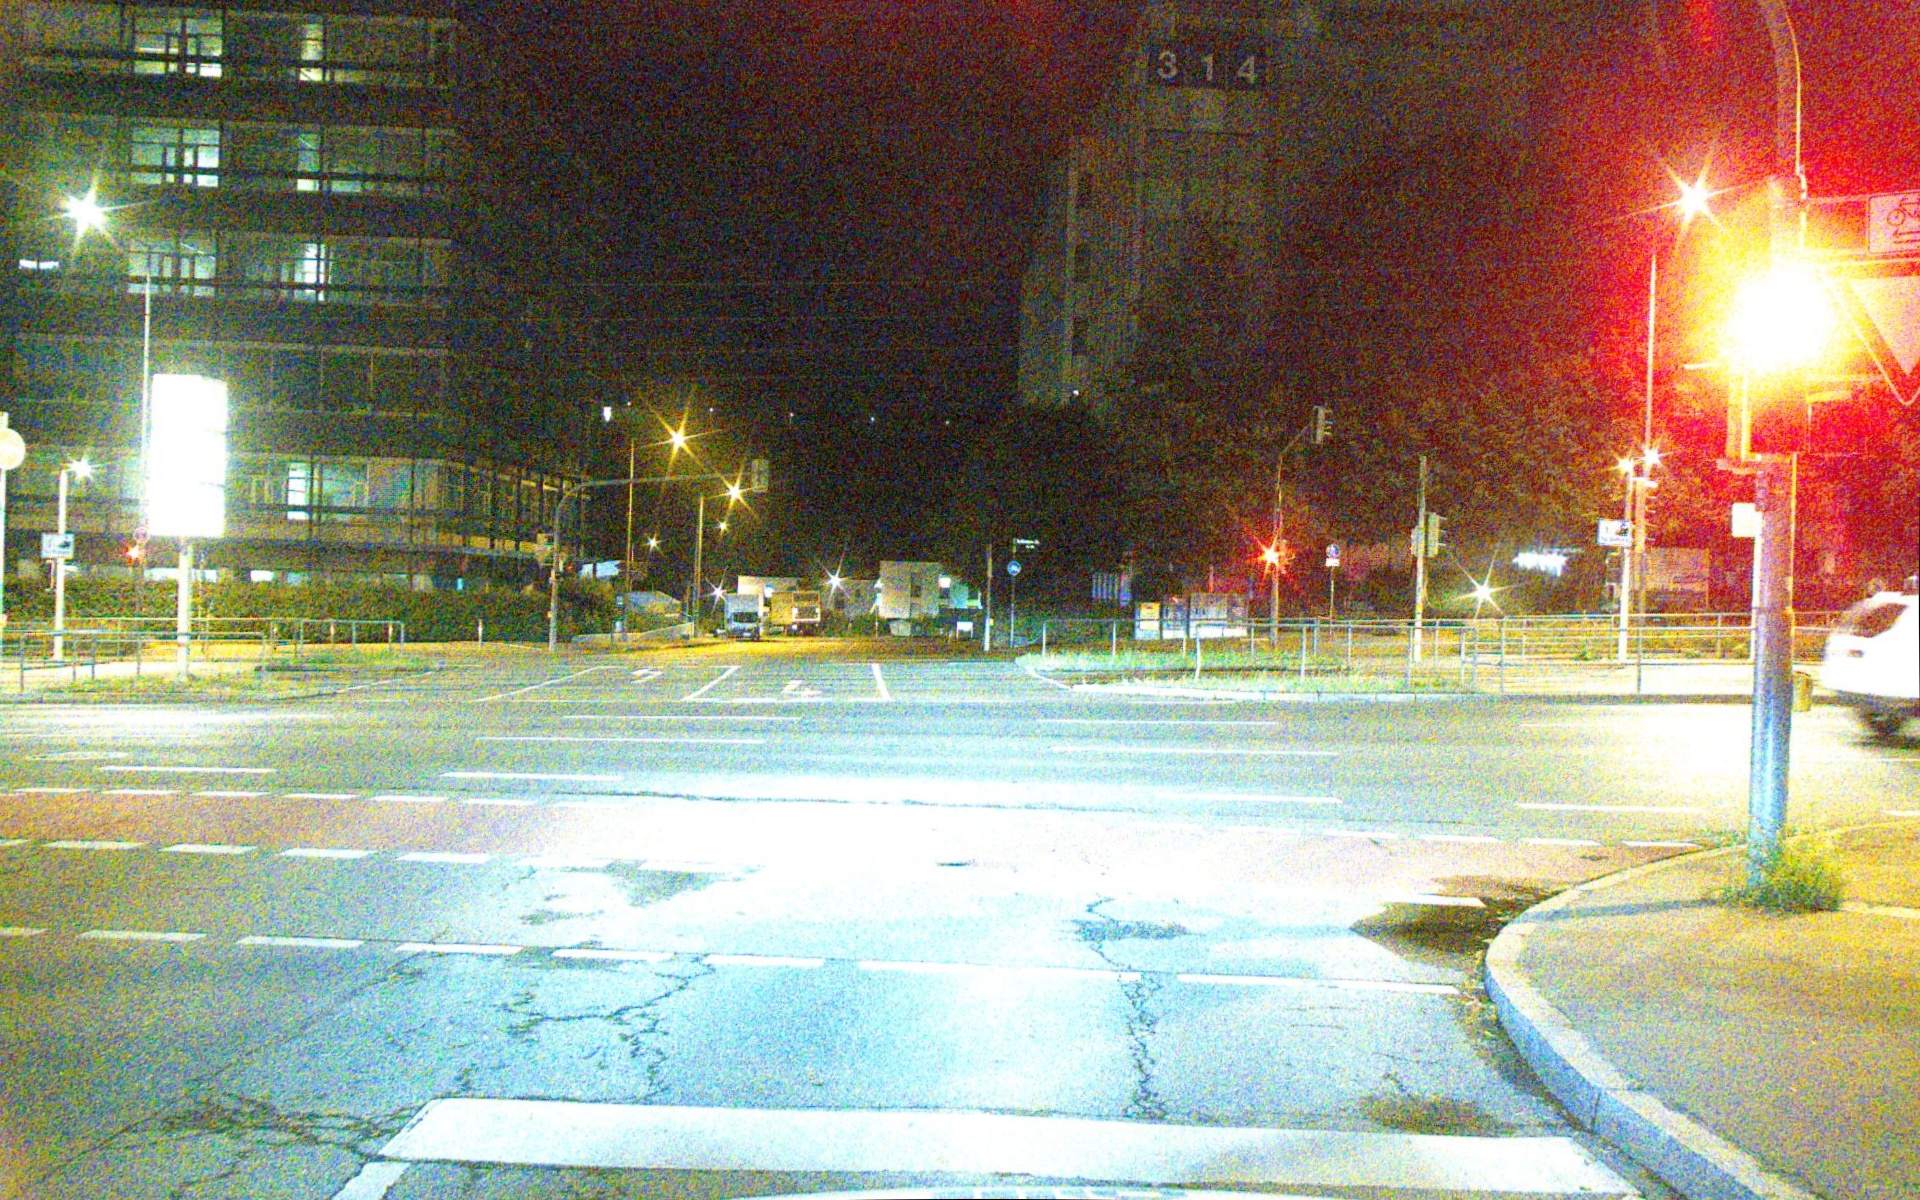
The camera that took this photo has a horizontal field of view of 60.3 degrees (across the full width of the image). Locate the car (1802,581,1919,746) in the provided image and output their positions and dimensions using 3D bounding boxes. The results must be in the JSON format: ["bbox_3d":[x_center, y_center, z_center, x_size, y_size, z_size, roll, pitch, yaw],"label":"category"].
[{"bbox_3d":[11.882,0.652,18.286,4.194,1.712,1.876,0,1,1],"label":"car"}]

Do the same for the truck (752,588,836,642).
[{"bbox_3d":[-15.277,1.300,150.986,4.751,4.627,12.593,1,0,-19],"label":"truck"}]

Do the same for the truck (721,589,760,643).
[{"bbox_3d":[-15.826,1.131,118.777,2.535,3.772,5.724,1,0,-9],"label":"truck"}]

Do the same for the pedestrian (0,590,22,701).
[{"bbox_3d":[-14.771,0.681,25.022,0.656,1.663,0.862,1,-1,-5],"label":"pedestrian"}]
